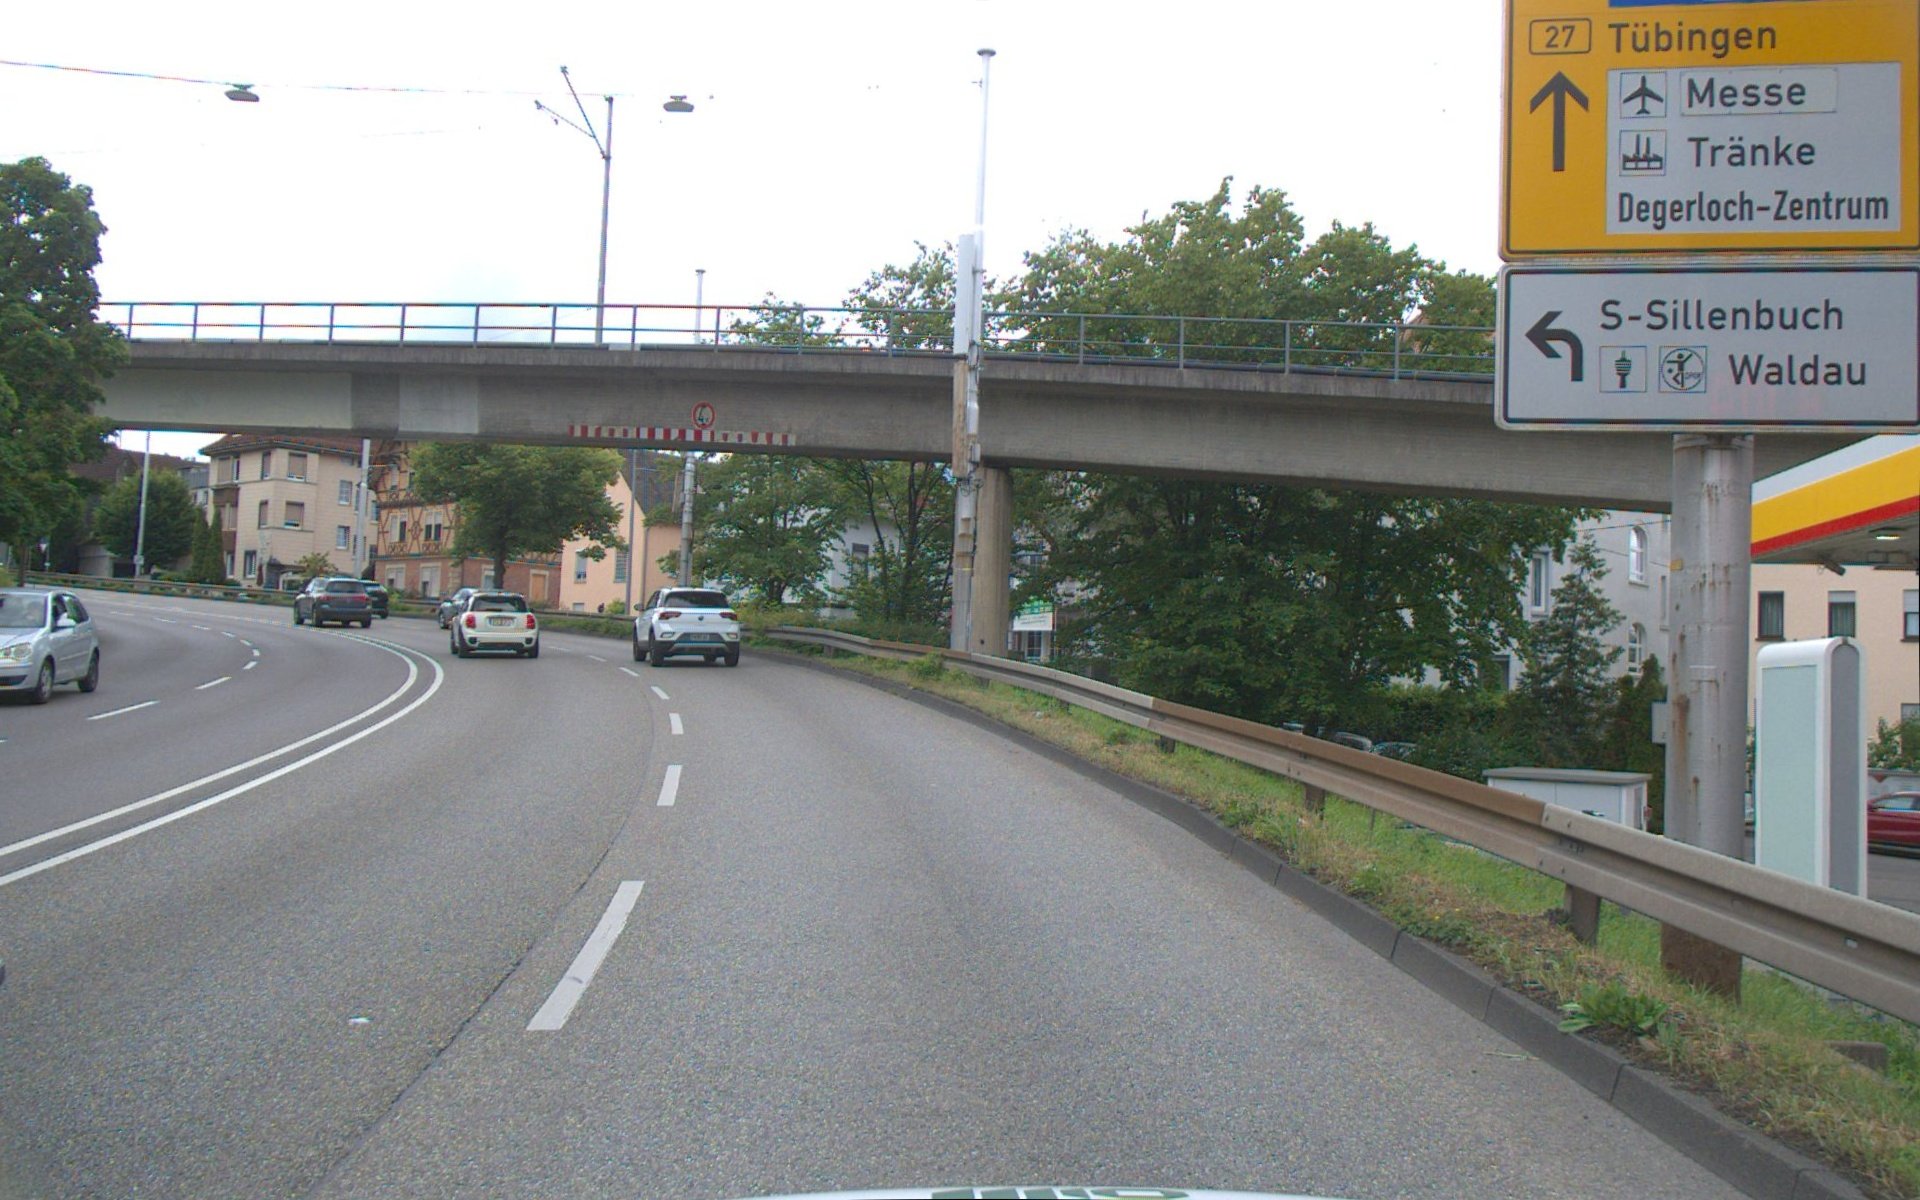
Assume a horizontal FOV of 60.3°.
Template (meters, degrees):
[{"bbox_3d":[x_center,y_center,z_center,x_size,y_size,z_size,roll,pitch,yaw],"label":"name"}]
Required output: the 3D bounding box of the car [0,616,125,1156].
[{"bbox_3d":[-3.221,0.749,2.654,1.602,1.407,4.617,2,0,-3],"label":"car"}]

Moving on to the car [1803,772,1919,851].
[{"bbox_3d":[22.540,5.104,39.283,4.220,1.548,1.617,4,-2,37],"label":"car"}]

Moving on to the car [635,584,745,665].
[{"bbox_3d":[-5.587,0.469,33.946,1.768,1.545,3.440,2,0,-17],"label":"car"}]

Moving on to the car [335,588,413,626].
[{"bbox_3d":[-23.558,0.261,66.433,1.714,1.400,3.402,2,0,-43],"label":"car"}]

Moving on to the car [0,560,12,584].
[{"bbox_3d":[-57.935,-1.680,98.420,3.397,1.400,1.717,2,0,43],"label":"car"}]

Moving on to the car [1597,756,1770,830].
[{"bbox_3d":[18.478,4.897,42.314,3.700,1.419,1.642,4,-2,40],"label":"car"}]

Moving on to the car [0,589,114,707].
[{"bbox_3d":[-12.730,0.576,22.093,1.673,1.433,3.795,1,0,-14],"label":"car"}]

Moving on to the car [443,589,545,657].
[{"bbox_3d":[-10.466,0.491,37.020,1.700,1.400,3.430,2,0,-24],"label":"car"}]

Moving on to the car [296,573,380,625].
[{"bbox_3d":[-21.077,-0.044,55.983,1.710,1.668,3.410,2,0,-38],"label":"car"}]
